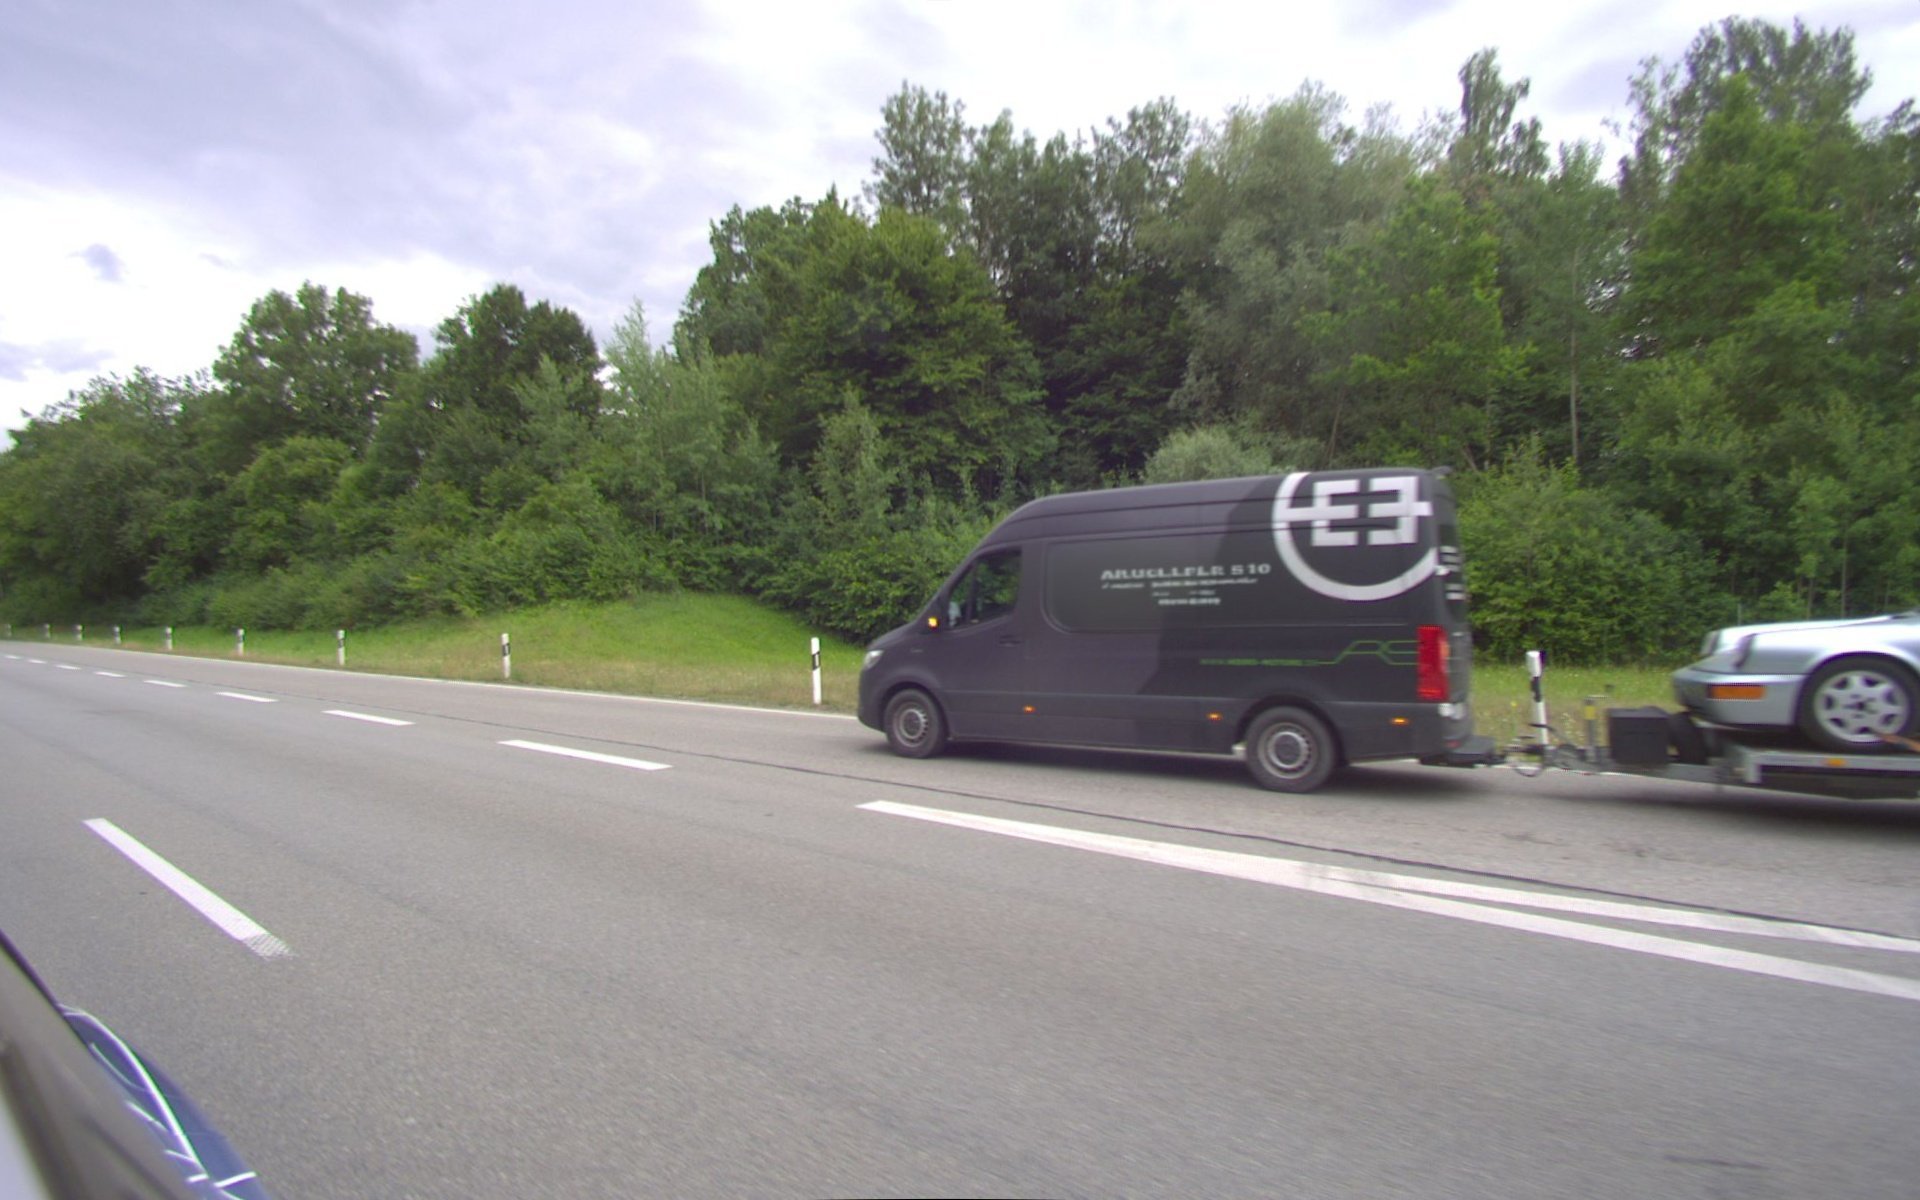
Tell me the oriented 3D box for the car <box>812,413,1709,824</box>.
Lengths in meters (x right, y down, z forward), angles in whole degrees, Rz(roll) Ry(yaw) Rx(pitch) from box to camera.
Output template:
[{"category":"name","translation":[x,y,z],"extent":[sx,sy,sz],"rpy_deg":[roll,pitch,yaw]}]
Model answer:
[{"category":"car","translation":[2.150,0.171,9.116],"extent":[7.138,2.549,2.239],"rpy_deg":[-1,-2,31]}]

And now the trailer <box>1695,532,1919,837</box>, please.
[{"category":"trailer","translation":[7.852,0.473,5.833],"extent":[5.671,1.805,2.039],"rpy_deg":[-1,0,32]}]
